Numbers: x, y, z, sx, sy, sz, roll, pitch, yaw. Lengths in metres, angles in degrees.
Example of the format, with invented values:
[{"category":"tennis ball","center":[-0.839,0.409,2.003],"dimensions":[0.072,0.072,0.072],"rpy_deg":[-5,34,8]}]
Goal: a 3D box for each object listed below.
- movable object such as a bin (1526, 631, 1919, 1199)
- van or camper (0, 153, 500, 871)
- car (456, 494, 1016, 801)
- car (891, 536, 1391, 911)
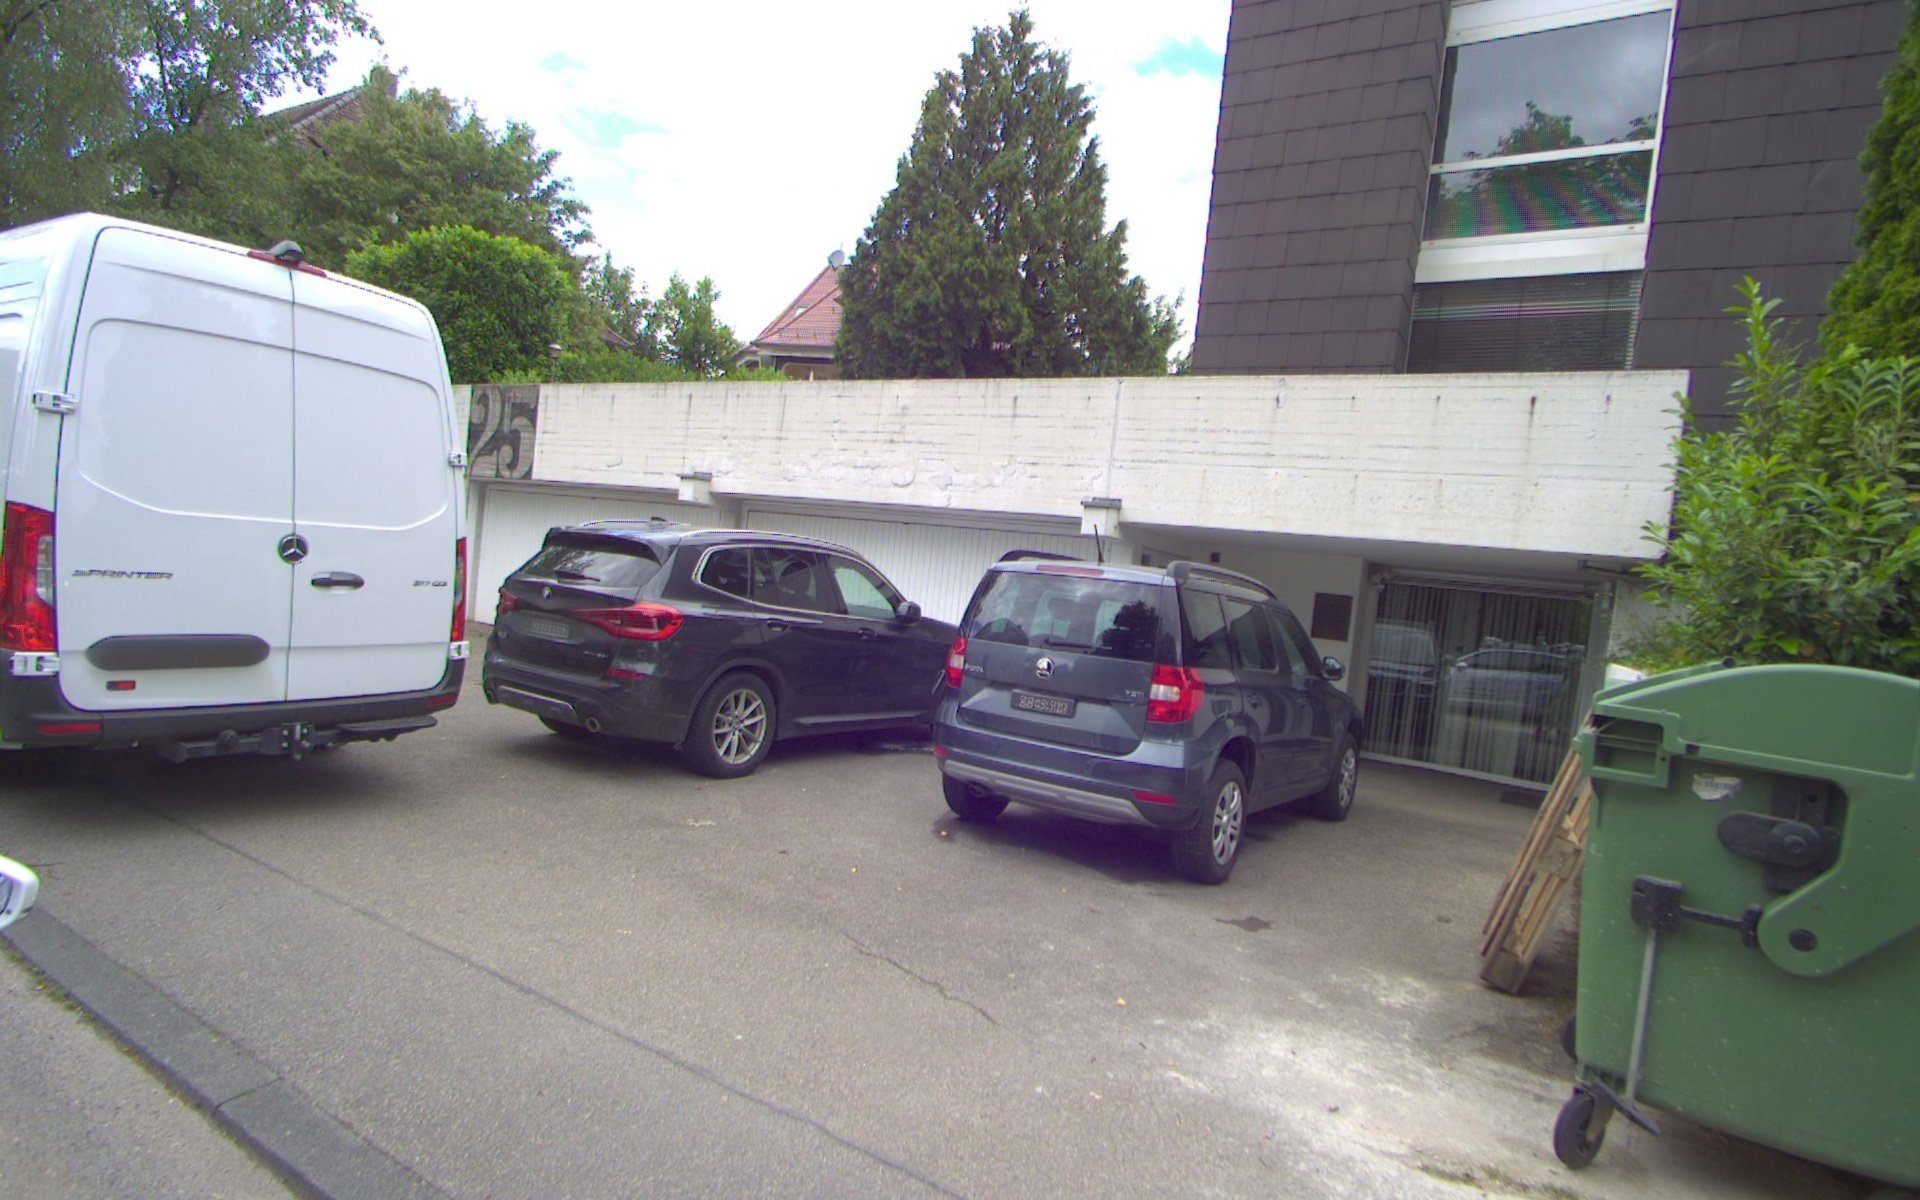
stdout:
[{"category":"movable object such as a bin","center":[2.412,0.901,2.971],"dimensions":[1.098,1.469,1.405],"rpy_deg":[6,1,32]},{"category":"van or camper","center":[-5.771,-0.584,6.271],"dimensions":[6.436,2.662,1.990],"rpy_deg":[6,4,32]},{"category":"car","center":[-1.404,0.318,8.030],"dimensions":[1.668,1.696,4.383],"rpy_deg":[6,1,32]},{"category":"car","center":[1.486,0.640,6.791],"dimensions":[1.717,1.673,3.899],"rpy_deg":[6,1,35]}]
